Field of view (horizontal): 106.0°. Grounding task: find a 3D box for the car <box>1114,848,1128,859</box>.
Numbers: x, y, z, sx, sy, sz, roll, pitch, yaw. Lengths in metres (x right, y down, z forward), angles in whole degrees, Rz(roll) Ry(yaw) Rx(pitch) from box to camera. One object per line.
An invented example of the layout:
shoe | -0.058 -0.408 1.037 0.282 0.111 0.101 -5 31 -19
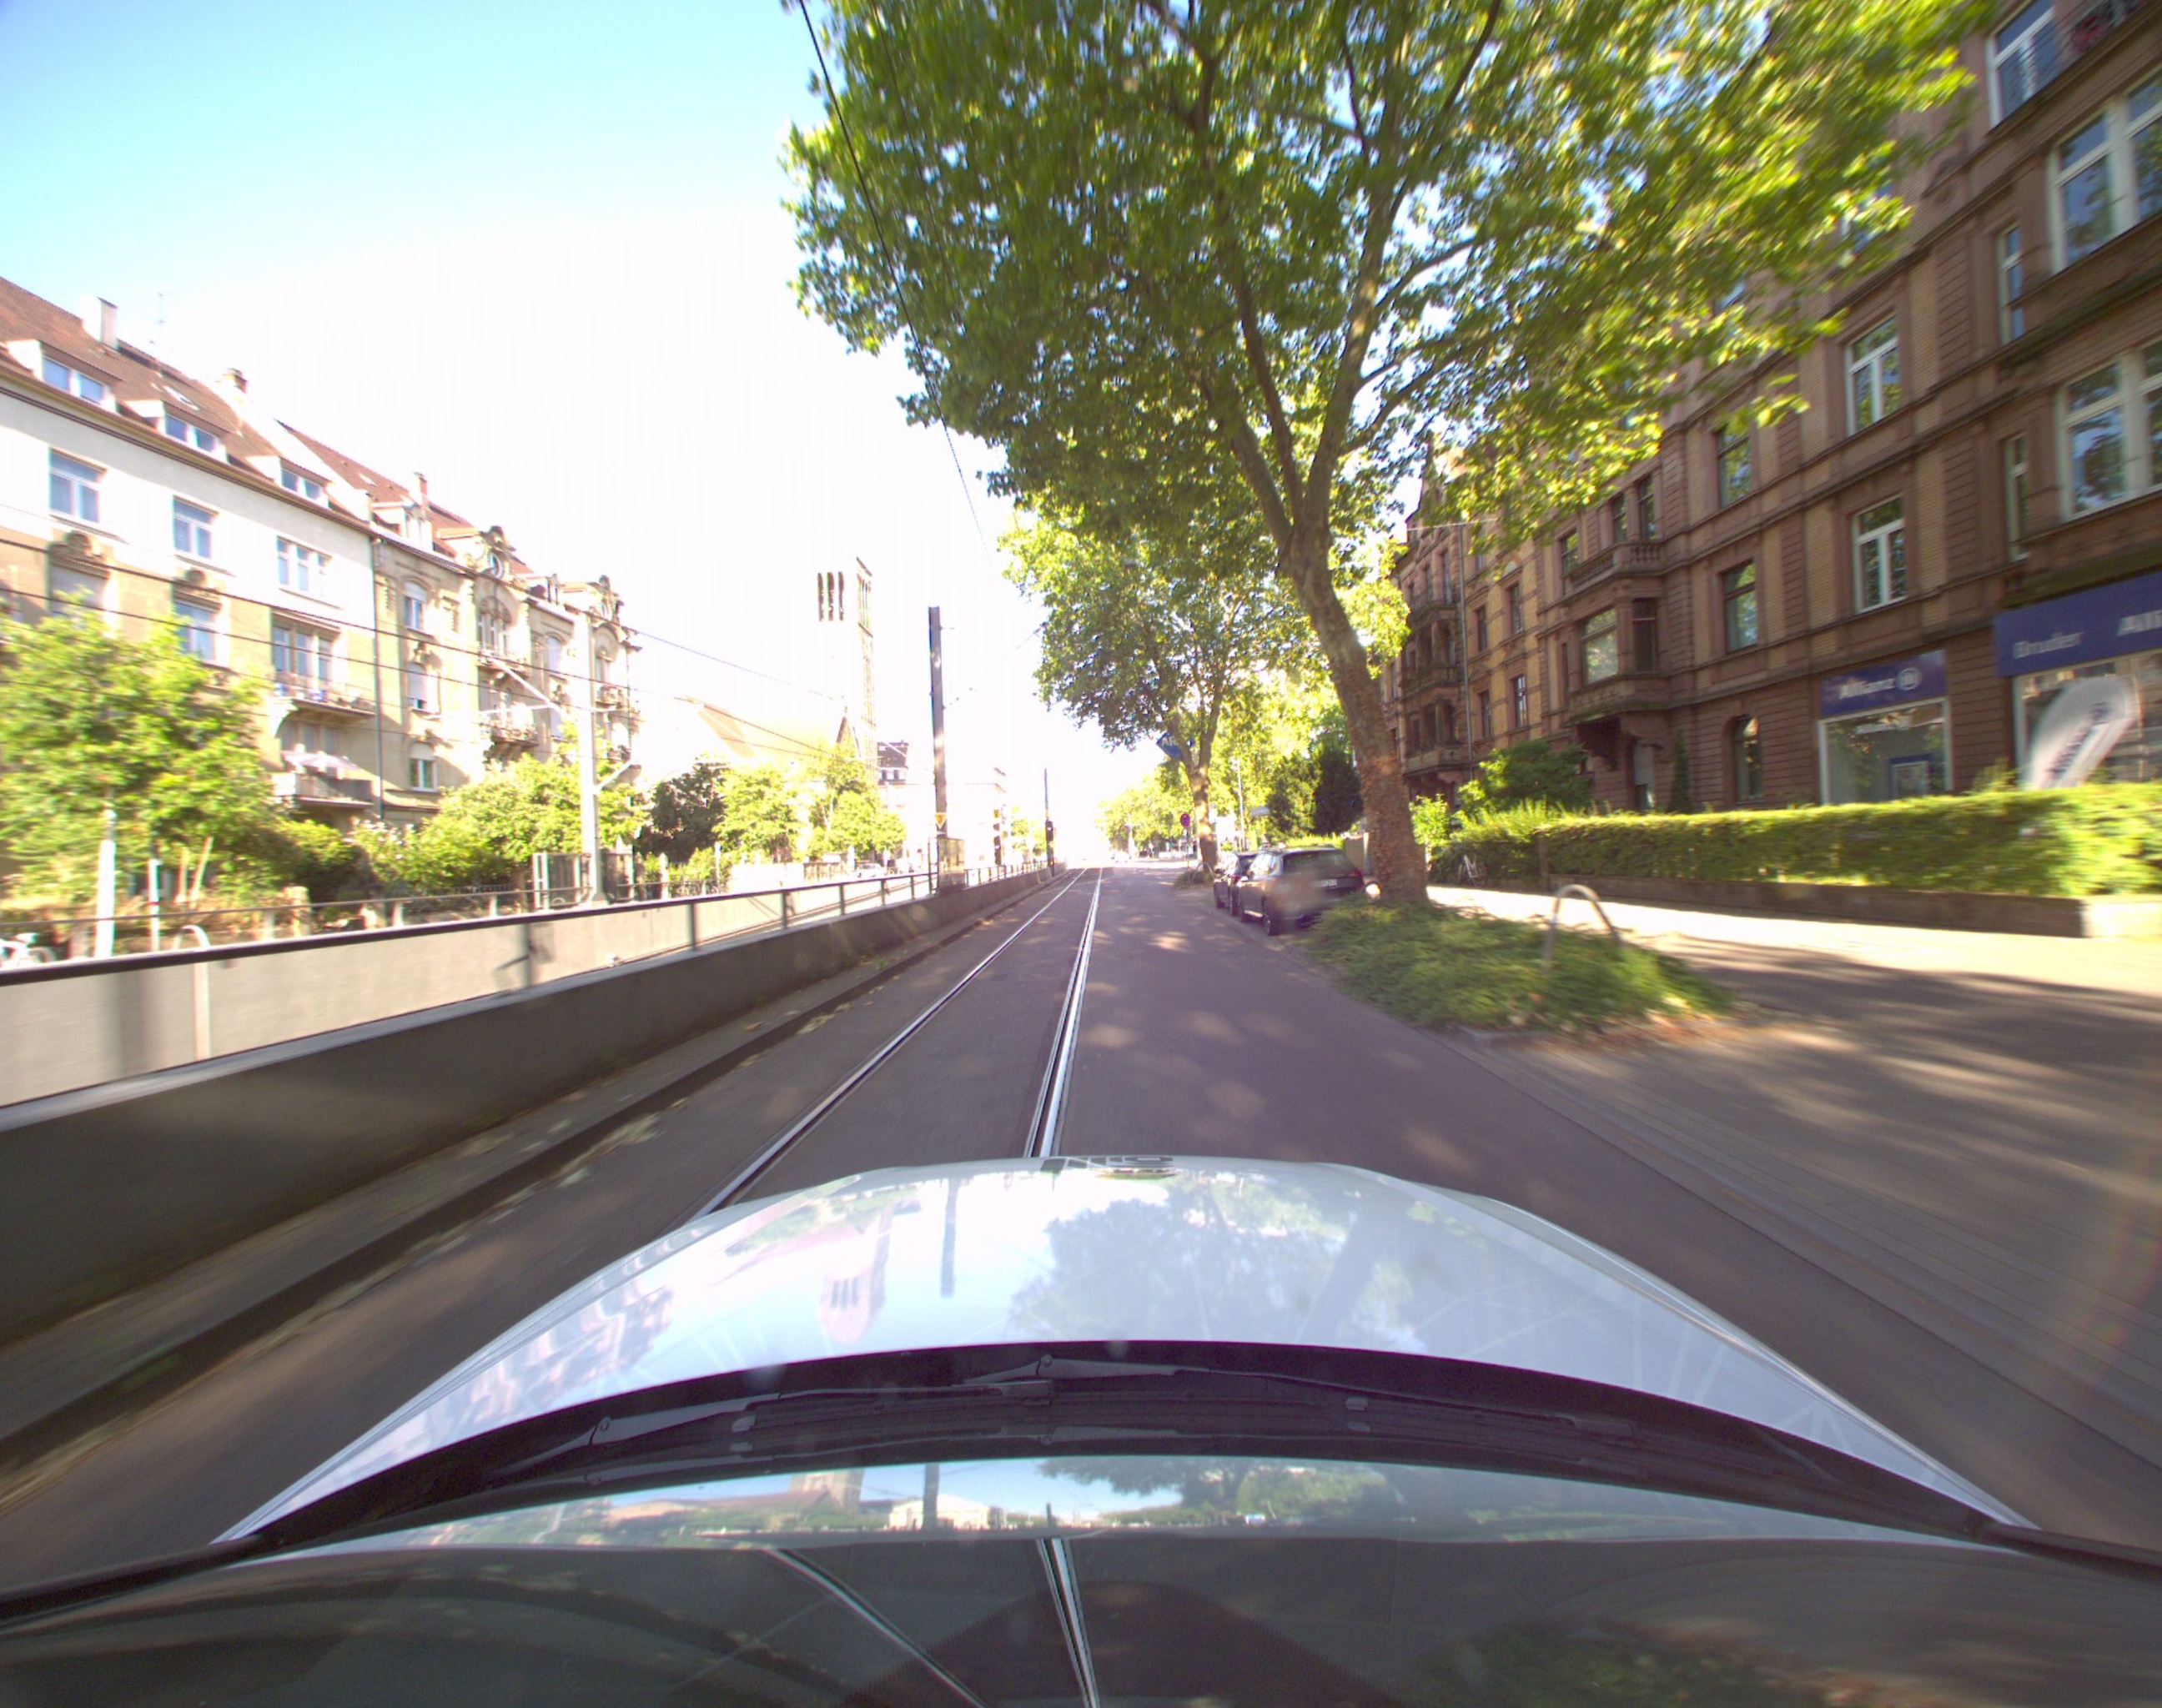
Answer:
car | 5.585 -0.053 113.740 1.739 1.462 3.645 0 0 1

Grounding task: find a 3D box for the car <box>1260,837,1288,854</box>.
car | 17.308 -0.759 73.044 1.562 1.430 4.099 -2 0 1

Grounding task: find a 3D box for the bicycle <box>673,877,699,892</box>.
bicycle | -22.751 1.764 46.903 0.414 0.800 1.890 0 0 5

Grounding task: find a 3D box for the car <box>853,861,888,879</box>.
car | -18.731 1.393 72.603 1.708 1.555 4.514 0 0 3

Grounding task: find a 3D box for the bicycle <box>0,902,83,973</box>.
bicycle | -20.410 1.612 15.713 1.721 1.279 0.601 -2 0 7

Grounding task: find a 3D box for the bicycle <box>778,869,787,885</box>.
bicycle | -19.327 1.476 52.655 0.487 1.022 1.879 0 0 -22

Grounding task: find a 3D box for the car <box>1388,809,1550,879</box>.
car | 13.286 -0.334 28.092 4.556 2.013 1.915 -4 0 1

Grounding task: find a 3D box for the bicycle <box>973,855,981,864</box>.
bicycle | -15.713 0.821 122.949 0.628 1.144 2.285 -4 0 8

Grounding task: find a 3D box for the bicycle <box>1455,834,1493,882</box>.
bicycle | 10.488 0.097 21.784 0.336 1.250 1.770 0 0 6

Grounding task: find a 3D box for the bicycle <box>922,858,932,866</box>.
bicycle | -26.810 1.425 141.737 0.826 1.282 2.541 0 0 -29

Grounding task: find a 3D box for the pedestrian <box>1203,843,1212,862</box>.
pedestrian | 12.162 -0.167 78.176 0.600 1.776 0.691 -5 -1 5

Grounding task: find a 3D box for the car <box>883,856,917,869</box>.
car | -24.141 1.107 108.635 3.969 1.756 1.897 0 0 4

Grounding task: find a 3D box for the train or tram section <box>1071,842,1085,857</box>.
train or tram section | -0.661 -1.137 197.606 2.941 3.410 10.797 0 0 2

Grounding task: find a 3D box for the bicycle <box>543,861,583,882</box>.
bicycle | -26.417 0.896 41.598 0.502 1.018 2.115 0 0 6

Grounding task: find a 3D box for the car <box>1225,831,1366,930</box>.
car | 4.029 0.453 16.041 1.611 1.587 4.418 -3 0 1

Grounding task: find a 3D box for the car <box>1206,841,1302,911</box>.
car | 4.186 0.493 20.298 1.546 1.499 4.051 -3 0 1
